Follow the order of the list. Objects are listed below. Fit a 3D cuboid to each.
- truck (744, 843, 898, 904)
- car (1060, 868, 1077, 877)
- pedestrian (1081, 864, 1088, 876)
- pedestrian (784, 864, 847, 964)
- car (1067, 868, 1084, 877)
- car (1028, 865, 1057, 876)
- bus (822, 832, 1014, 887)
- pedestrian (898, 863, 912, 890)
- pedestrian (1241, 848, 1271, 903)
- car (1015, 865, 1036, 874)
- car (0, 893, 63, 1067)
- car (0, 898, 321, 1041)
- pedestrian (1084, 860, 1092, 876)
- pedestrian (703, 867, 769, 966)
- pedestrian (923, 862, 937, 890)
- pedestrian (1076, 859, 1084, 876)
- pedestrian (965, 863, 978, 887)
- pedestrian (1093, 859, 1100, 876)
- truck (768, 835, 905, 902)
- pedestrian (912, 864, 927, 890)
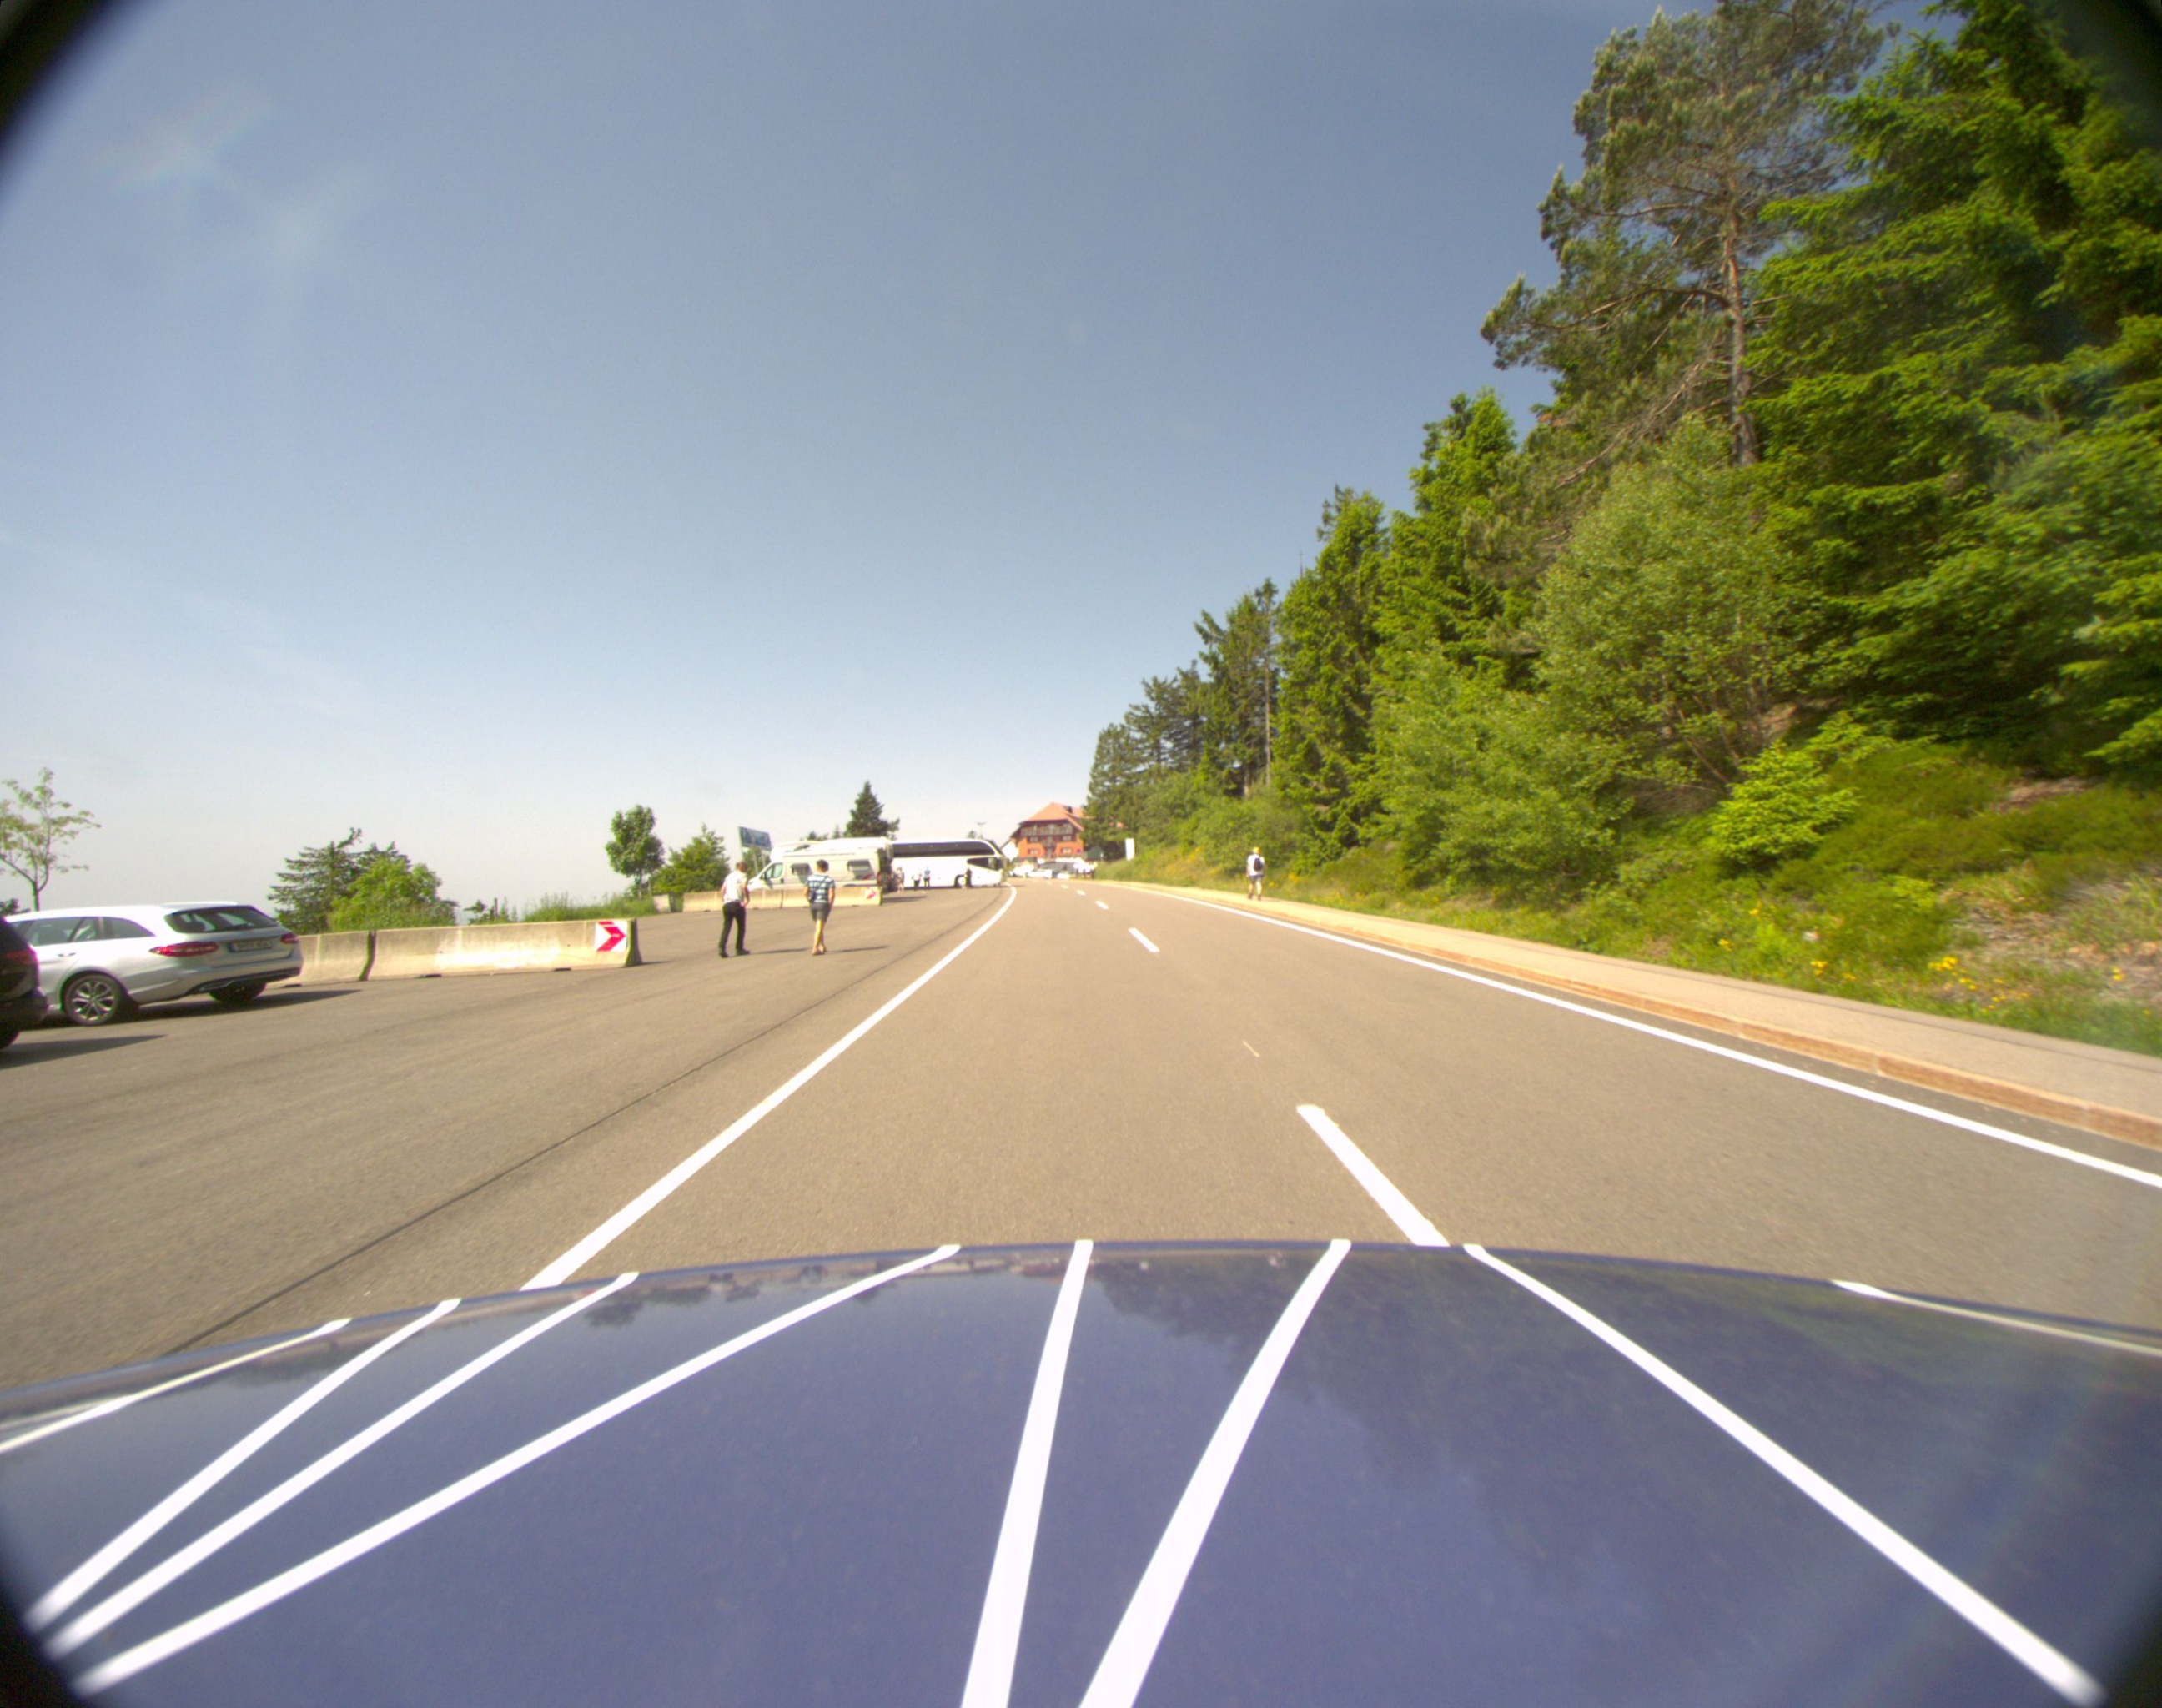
[{"bbox_3d":[-11.845,0.894,35.010,6.278,2.575,2.340,-1,0,-3],"label":"truck"},{"bbox_3d":[-2.107,3.172,133.137,1.710,1.543,3.140,-1,-1,27],"label":"car"},{"bbox_3d":[0.365,1.457,70.845,0.570,1.095,0.744,0,-1,-7],"label":"pedestrian"},{"bbox_3d":[-4.775,1.064,13.707,0.755,1.750,0.776,-1,0,11],"label":"pedestrian"},{"bbox_3d":[-1.005,3.151,130.296,1.637,1.425,3.322,-2,-3,24],"label":"car"},{"bbox_3d":[-5.828,2.443,114.694,3.954,1.578,1.793,-1,-1,23],"label":"car"},{"bbox_3d":[-11.329,0.382,53.693,12.881,3.556,2.839,-1,0,-2],"label":"bus"},{"bbox_3d":[-11.148,1.406,48.073,0.631,1.687,0.628,-1,0,11],"label":"pedestrian"},{"bbox_3d":[5.686,0.678,24.739,0.684,1.736,0.825,-2,0,-6],"label":"pedestrian"},{"bbox_3d":[-10.093,2.820,138.194,3.326,1.582,1.720,-1,-1,30],"label":"car"},{"bbox_3d":[-12.276,1.339,6.686,3.999,1.637,1.599,-4,0,-6],"label":"car"},{"bbox_3d":[-12.824,1.475,9.792,3.998,1.467,1.773,-4,0,-5],"label":"car"},{"bbox_3d":[0.657,1.334,72.459,0.582,1.528,0.879,0,-1,-10],"label":"pedestrian"},{"bbox_3d":[-6.273,1.116,13.851,0.666,1.730,0.895,-1,0,11],"label":"pedestrian"},{"bbox_3d":[-9.456,1.371,47.509,0.631,1.747,0.628,-1,0,11],"label":"pedestrian"},{"bbox_3d":[-0.084,1.339,75.780,0.581,1.731,0.686,0,-1,-16],"label":"pedestrian"},{"bbox_3d":[-7.267,1.383,50.323,0.631,1.557,0.628,-1,0,11],"label":"pedestrian"},{"bbox_3d":[1.493,1.333,73.346,0.578,1.633,0.894,0,-1,-6],"label":"pedestrian"},{"bbox_3d":[-12.191,0.694,38.328,6.081,3.177,2.531,-1,0,-5],"label":"truck"},{"bbox_3d":[-10.136,1.433,47.793,0.631,1.641,0.629,-1,0,21],"label":"pedestrian"}]
